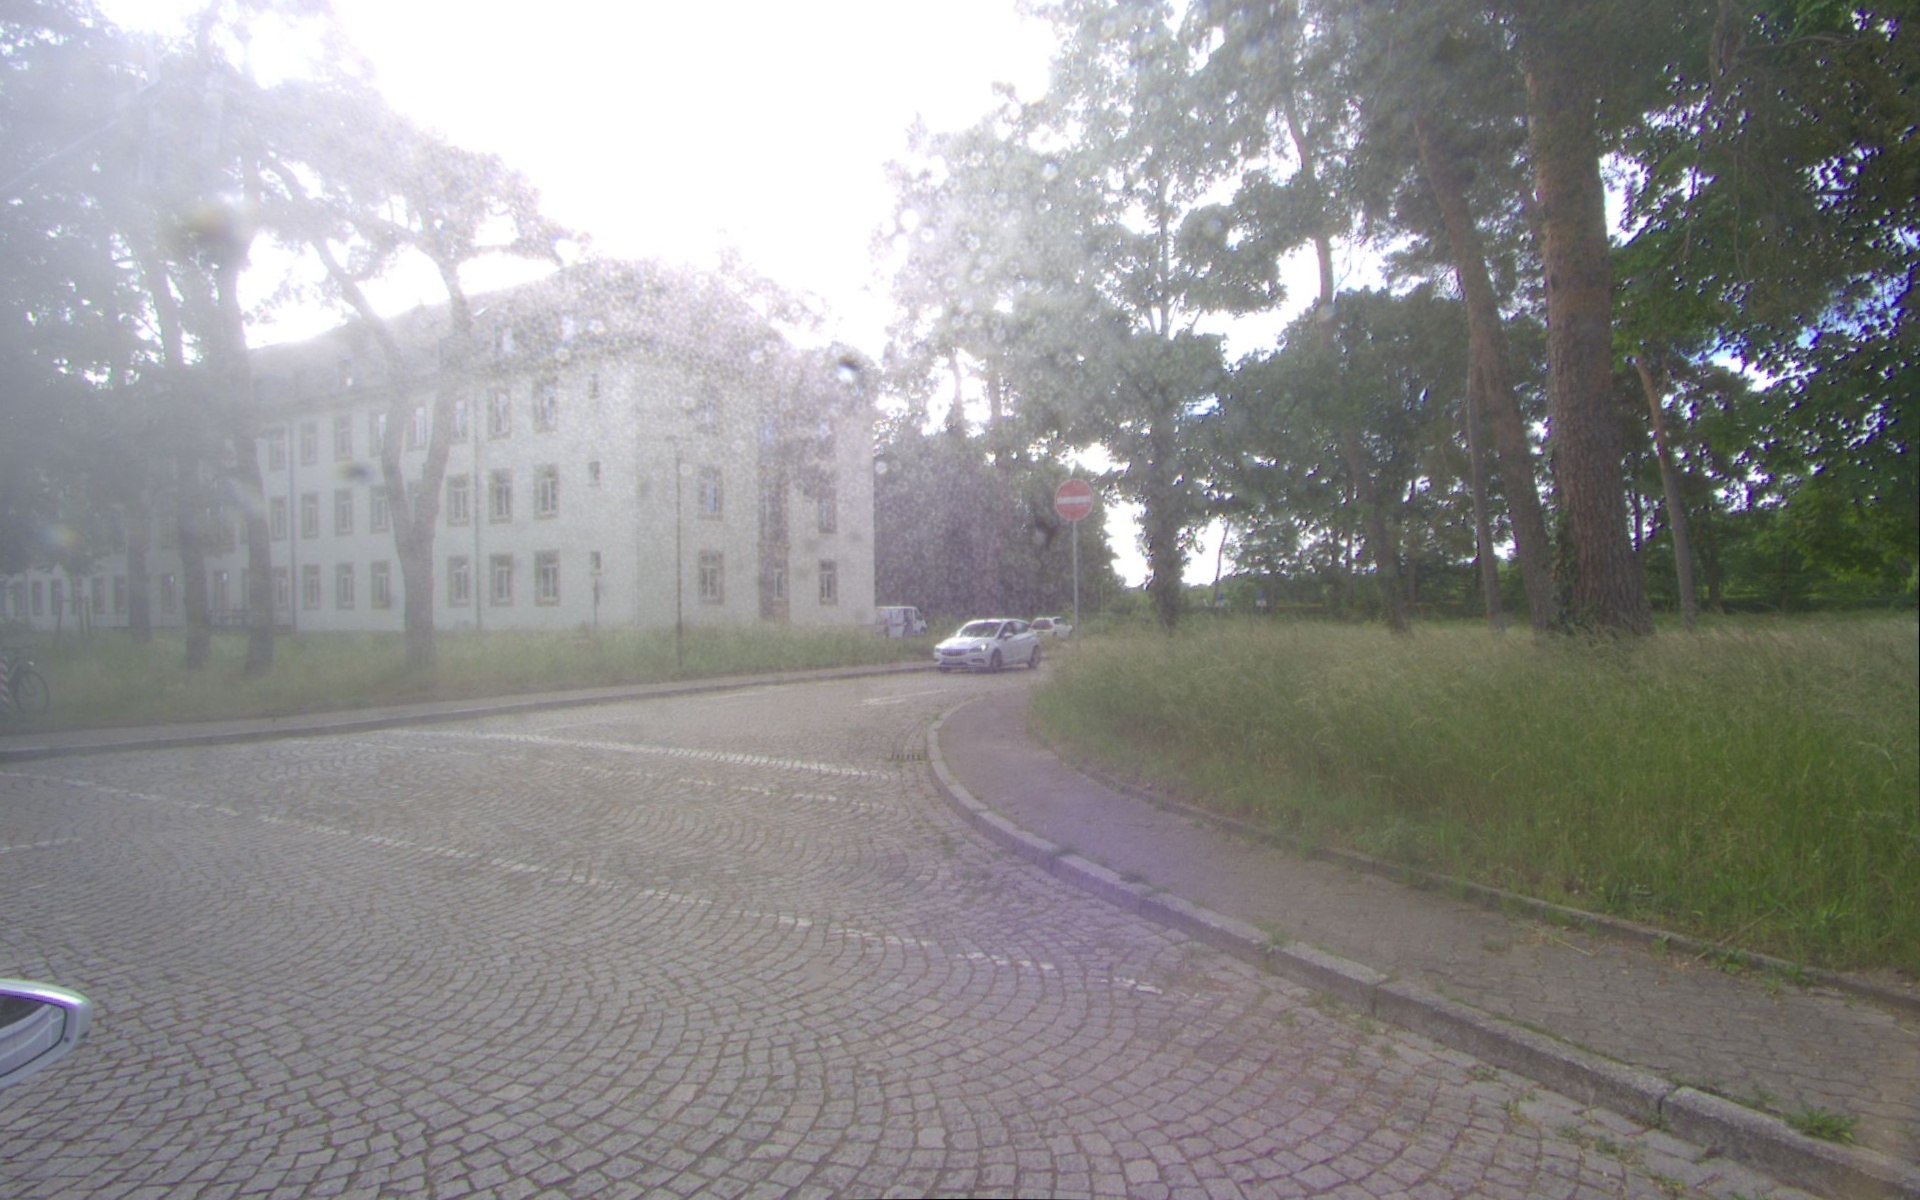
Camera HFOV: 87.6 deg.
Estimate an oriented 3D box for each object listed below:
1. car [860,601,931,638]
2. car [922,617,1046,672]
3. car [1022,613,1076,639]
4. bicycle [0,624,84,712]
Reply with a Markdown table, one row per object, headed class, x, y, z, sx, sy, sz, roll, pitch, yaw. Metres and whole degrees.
| class | x | y | z | sx | sy | sz | roll | pitch | yaw |
| --- | --- | --- | --- | --- | --- | --- | --- | --- | --- |
| car | -4.155 | 1.286 | 65.443 | 2.180 | 2.318 | 5.173 | -1 | -1 | 30 |
| car | 0.774 | 1.211 | 28.673 | 1.858 | 1.434 | 4.240 | 0 | 0 | 28 |
| car | 5.451 | 1.540 | 60.850 | 1.970 | 1.527 | 3.477 | -1 | -1 | 30 |
| bicycle | -13.711 | 0.948 | 14.547 | 1.845 | 1.192 | 0.908 | -1 | 0 | 29 |
